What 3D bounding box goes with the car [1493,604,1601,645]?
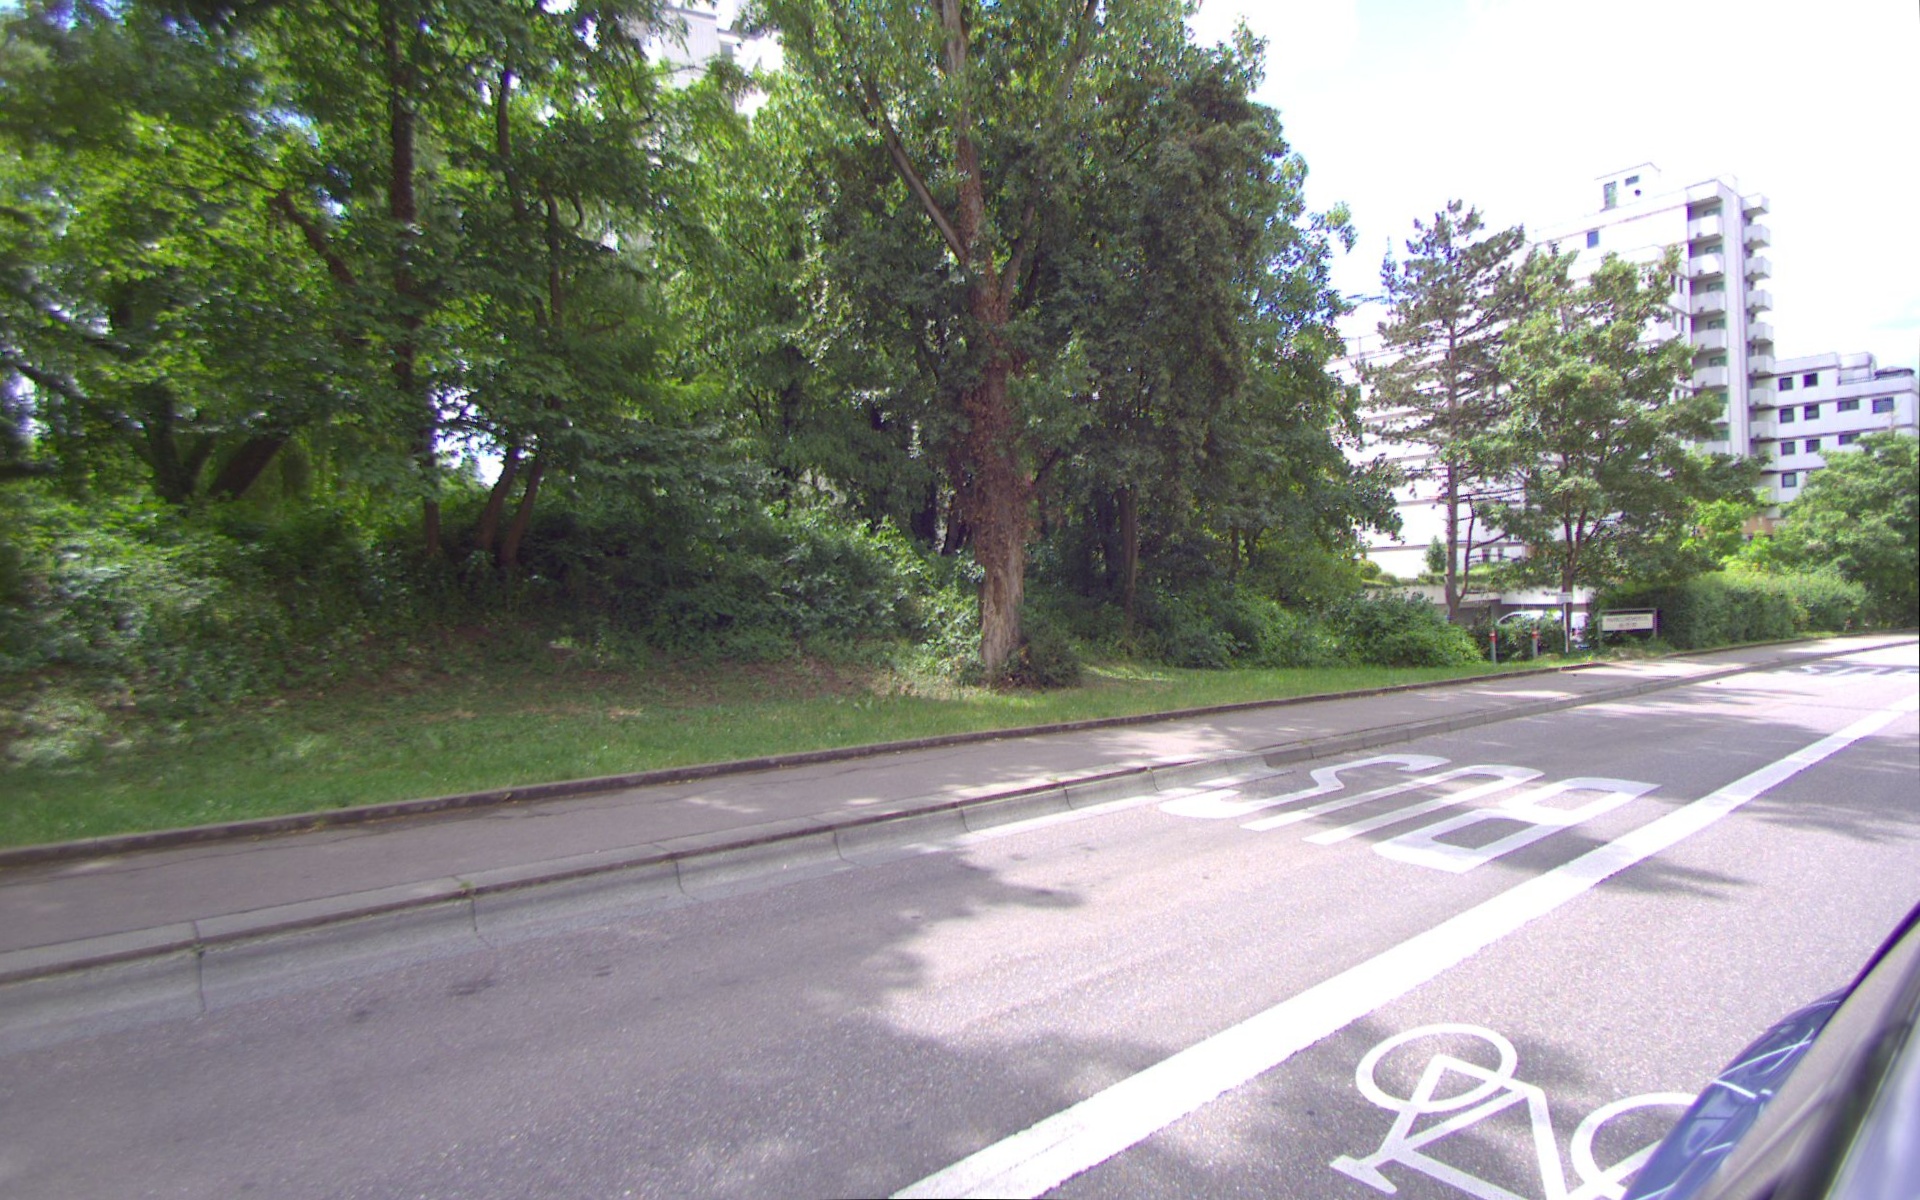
[{"bbox_3d":[31.032,1.233,53.633,1.962,2.039,4.549,-1,0,-34],"label":"car"}]
